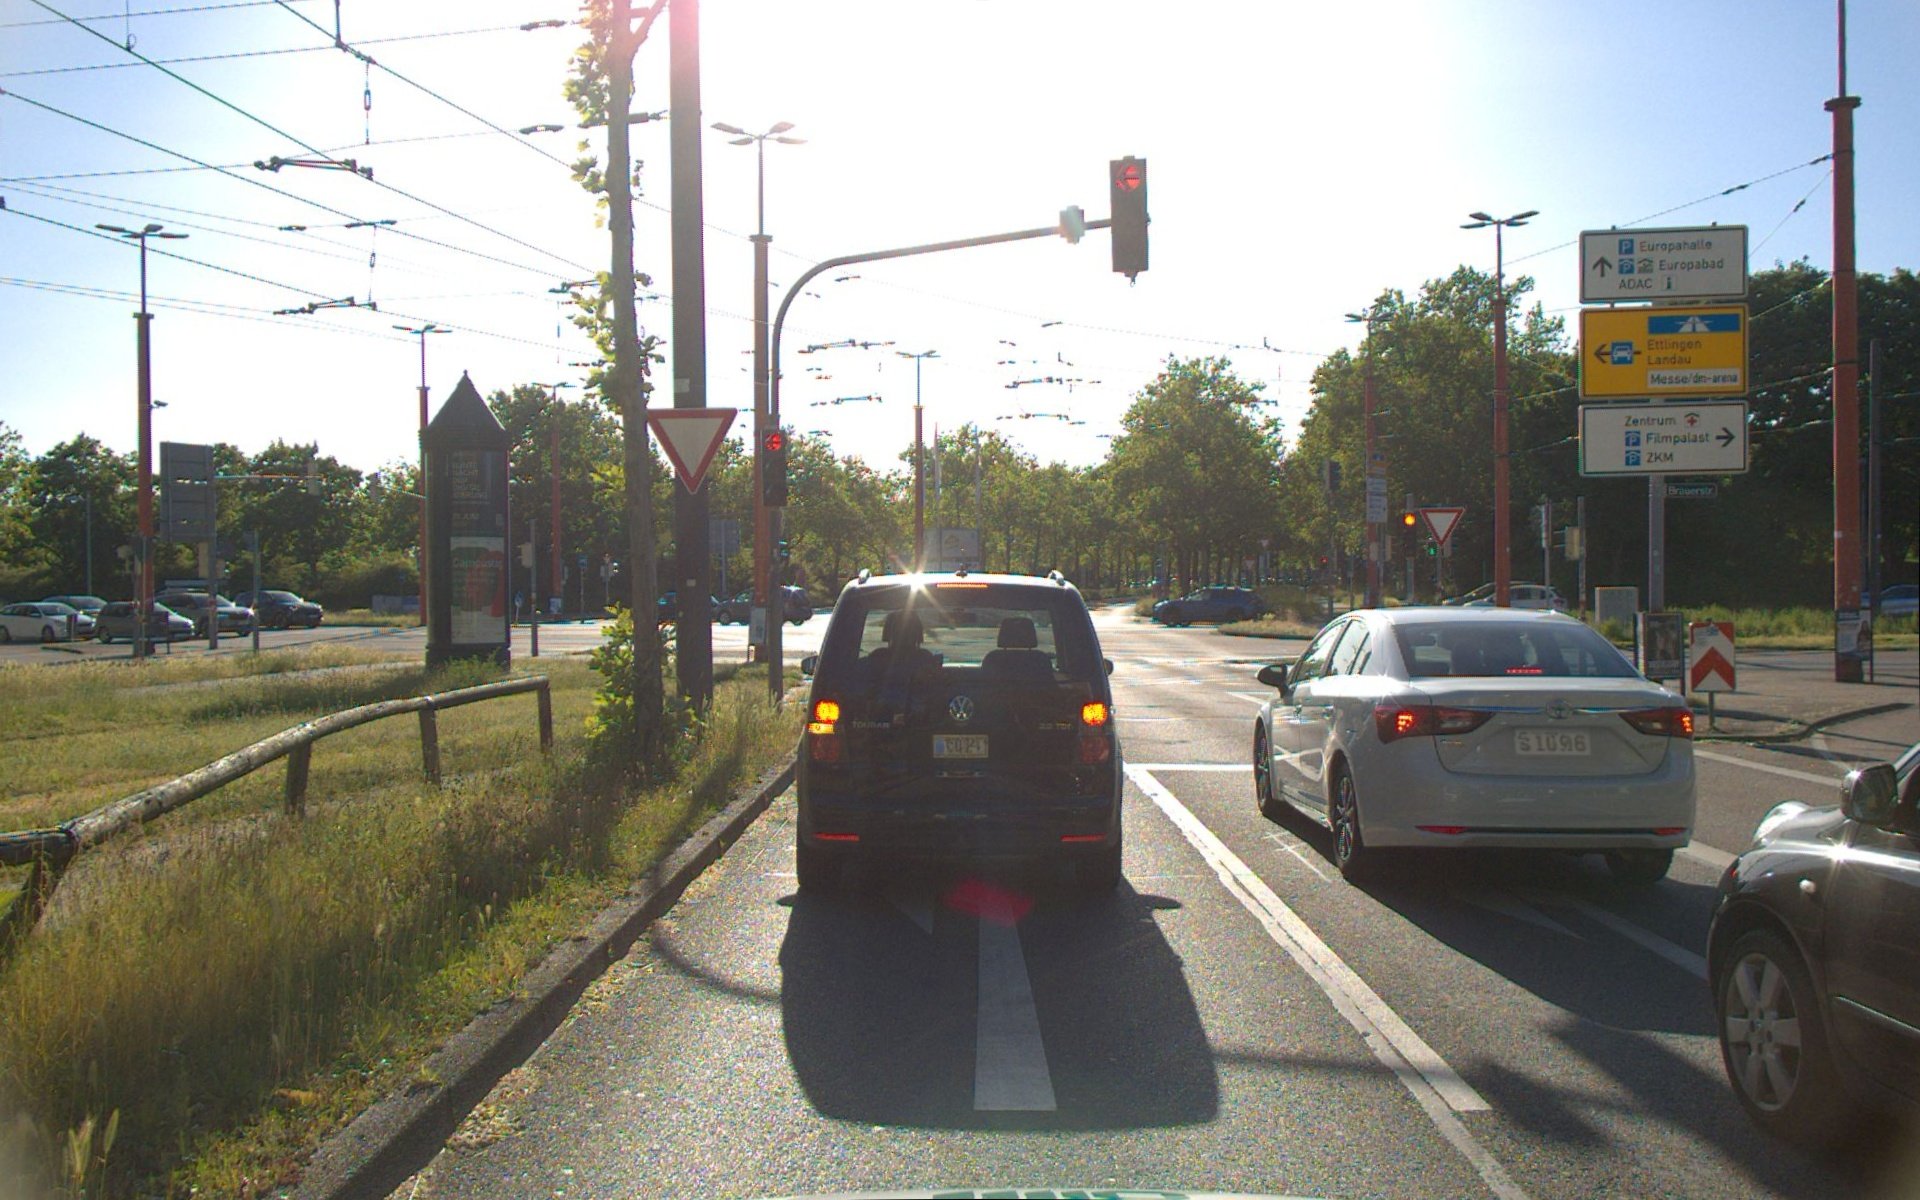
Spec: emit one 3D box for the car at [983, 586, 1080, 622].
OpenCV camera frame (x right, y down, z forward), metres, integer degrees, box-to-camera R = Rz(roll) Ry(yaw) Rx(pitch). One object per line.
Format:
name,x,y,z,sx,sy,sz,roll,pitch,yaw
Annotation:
car,3.131,0.173,72.524,3.887,1.466,1.685,1,0,27

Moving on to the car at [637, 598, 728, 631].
car,-13.545,0.703,80.644,4.040,1.537,1.821,1,0,26

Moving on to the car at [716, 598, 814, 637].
car,-8.797,0.778,74.609,4.097,1.673,1.758,1,0,26

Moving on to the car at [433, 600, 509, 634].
car,-25.656,0.877,86.801,3.570,1.684,1.679,1,0,25

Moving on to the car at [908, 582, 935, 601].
car,-3.452,-0.747,148.578,1.874,1.664,4.003,1,0,6

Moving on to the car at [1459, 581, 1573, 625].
car,20.259,0.101,60.285,3.744,1.549,1.694,0,0,26

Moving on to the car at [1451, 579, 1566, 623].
car,21.227,0.036,64.044,4.039,1.672,1.851,0,0,26

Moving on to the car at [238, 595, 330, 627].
car,-29.269,0.478,71.597,3.913,1.353,1.694,0,0,31

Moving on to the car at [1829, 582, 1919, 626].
car,32.316,0.122,57.494,3.662,1.499,1.599,0,0,26

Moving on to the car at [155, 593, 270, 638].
car,-28.963,0.576,64.127,3.907,1.673,1.999,0,0,24

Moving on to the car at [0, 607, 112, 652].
car,-34.624,1.100,63.196,4.091,1.640,1.867,0,0,25

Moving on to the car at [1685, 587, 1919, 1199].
car,3.183,0.745,3.578,1.620,1.526,3.614,1,0,0

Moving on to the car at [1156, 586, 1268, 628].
car,9.978,0.262,65.493,4.039,1.626,1.827,0,0,27

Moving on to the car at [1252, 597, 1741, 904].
car,2.979,0.729,10.144,1.685,1.463,4.198,1,0,1

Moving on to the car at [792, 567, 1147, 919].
car,0.011,0.673,9.807,1.666,1.650,3.896,1,0,-1
